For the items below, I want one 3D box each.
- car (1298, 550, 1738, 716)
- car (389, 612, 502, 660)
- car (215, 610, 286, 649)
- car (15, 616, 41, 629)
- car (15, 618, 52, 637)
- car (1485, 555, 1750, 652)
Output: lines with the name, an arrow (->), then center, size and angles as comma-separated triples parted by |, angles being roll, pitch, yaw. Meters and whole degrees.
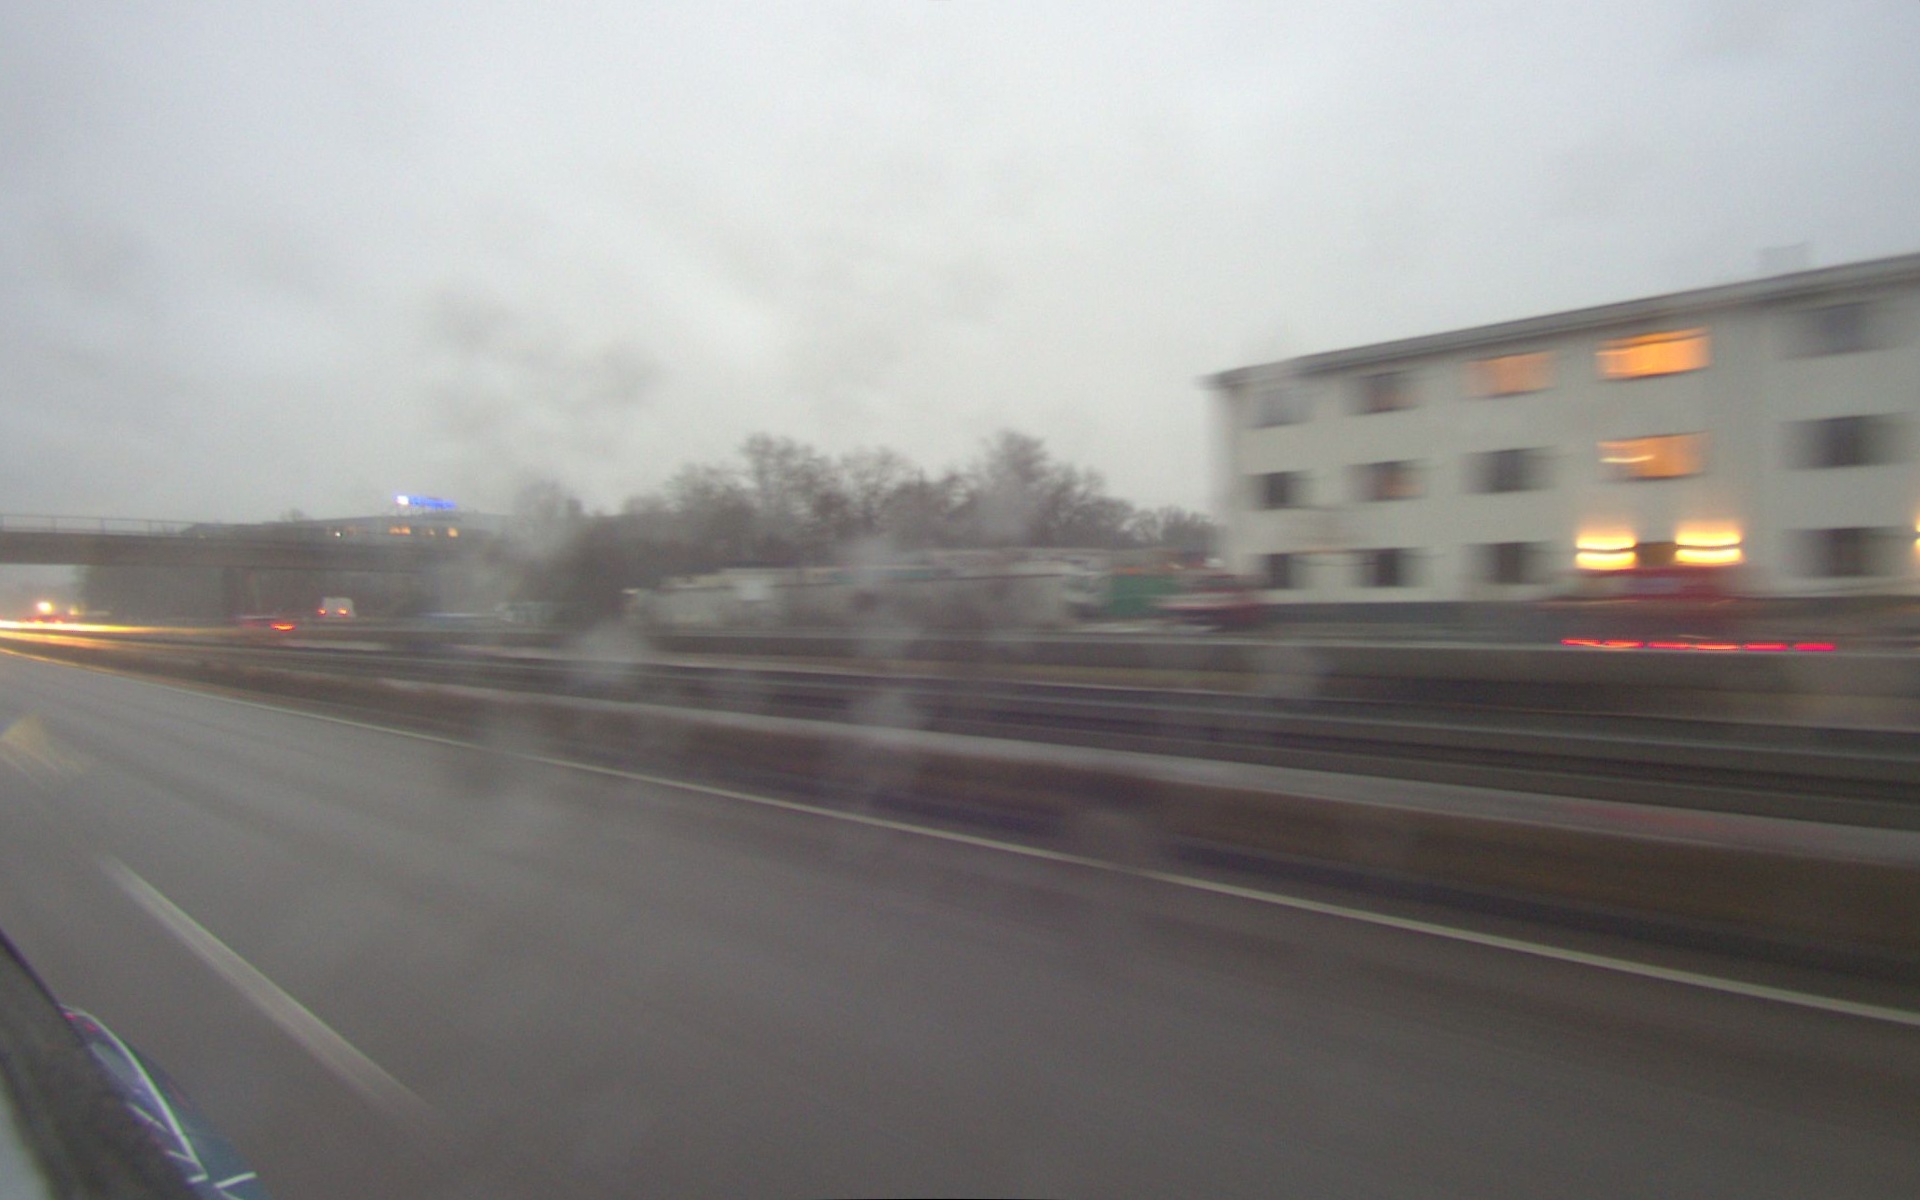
car -> 6.029, 0.304, 11.192 | 3.998, 1.519, 1.719 | -1, 1, 41
car -> -14.176, 0.945, 27.807 | 3.796, 1.196, 1.443 | -1, 1, 41
car -> -31.902, 1.288, 45.488 | 3.999, 1.603, 1.706 | -1, 1, 42
car -> -112.756, 2.710, 122.427 | 3.998, 1.584, 1.973 | -1, 0, 41
car -> -82.424, 2.466, 90.019 | 3.998, 1.584, 1.973 | -1, 0, 41
car -> 15.137, 0.087, 23.435 | 4.955, 2.029, 2.134 | -1, 0, 39
